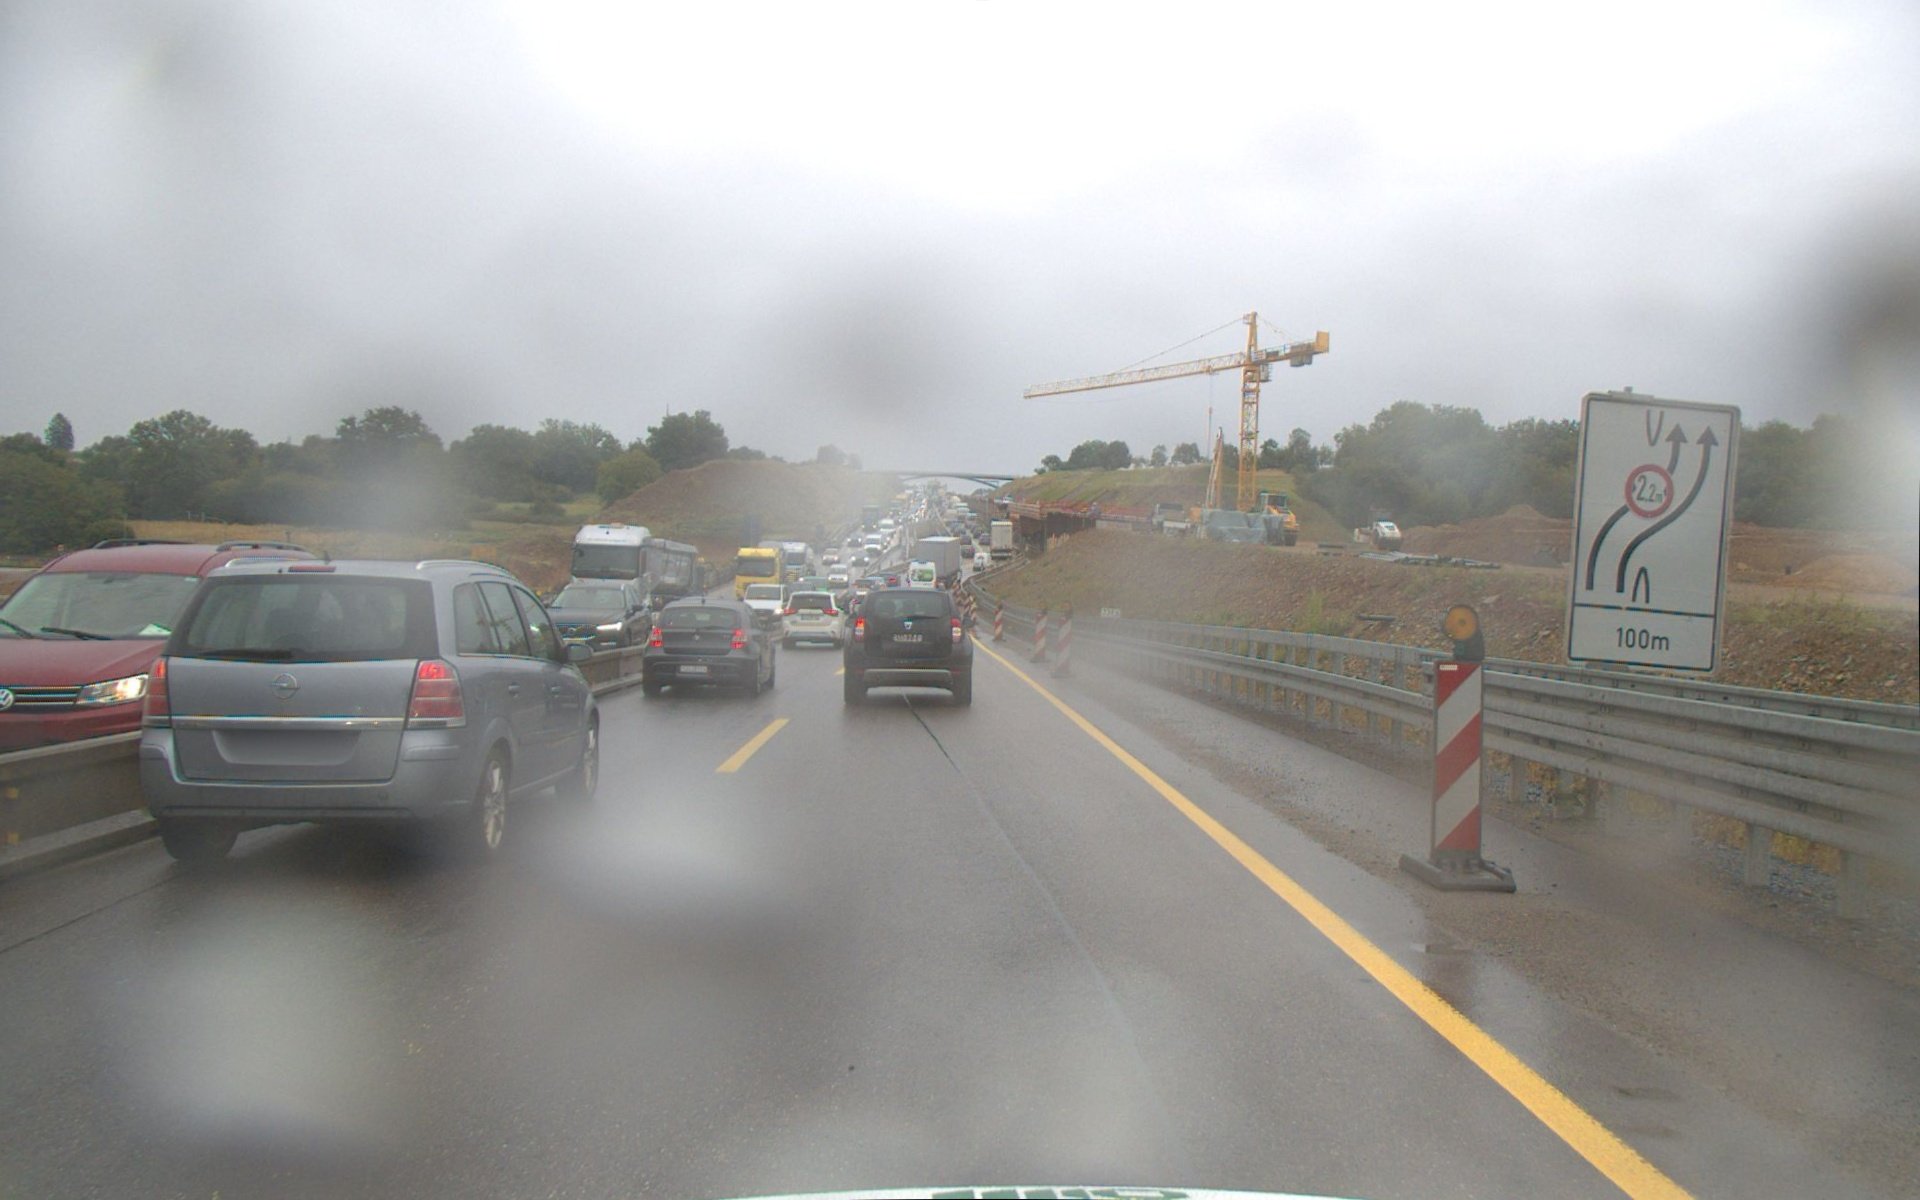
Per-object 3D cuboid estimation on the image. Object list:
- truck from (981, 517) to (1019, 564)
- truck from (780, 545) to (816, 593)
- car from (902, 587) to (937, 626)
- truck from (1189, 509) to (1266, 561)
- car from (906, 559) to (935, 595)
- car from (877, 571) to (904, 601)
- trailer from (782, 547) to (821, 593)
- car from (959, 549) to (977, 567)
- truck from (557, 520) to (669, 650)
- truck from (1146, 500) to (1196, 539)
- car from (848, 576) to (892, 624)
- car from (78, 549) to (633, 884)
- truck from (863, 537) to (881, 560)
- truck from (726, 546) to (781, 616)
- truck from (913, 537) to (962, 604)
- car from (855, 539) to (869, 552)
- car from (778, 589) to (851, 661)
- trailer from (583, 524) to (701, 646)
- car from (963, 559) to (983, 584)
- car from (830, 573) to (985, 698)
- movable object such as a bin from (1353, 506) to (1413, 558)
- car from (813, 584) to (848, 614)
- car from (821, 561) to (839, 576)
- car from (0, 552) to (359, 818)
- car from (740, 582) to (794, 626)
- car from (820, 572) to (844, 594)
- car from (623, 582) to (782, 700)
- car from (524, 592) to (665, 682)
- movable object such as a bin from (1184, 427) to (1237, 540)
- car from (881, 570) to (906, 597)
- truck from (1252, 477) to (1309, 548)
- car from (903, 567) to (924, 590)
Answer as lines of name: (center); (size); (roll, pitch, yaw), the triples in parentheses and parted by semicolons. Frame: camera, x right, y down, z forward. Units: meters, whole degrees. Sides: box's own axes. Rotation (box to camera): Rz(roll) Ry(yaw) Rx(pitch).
truck: (4.797, -7.135, 200.623); (3.727, 5.130, 12.916); (1, 0, -2)
truck: (-13.266, -2.504, 135.771); (2.568, 3.742, 6.592); (1, 0, -2)
car: (-2.322, 0.389, 96.688); (1.953, 2.200, 4.140); (1, 0, -1)
truck: (16.753, -4.039, 104.338); (3.326, 2.925, 8.959); (1, 0, 0)
car: (-2.816, -1.612, 118.984); (1.953, 2.527, 4.981); (1, 0, -1)
car: (-5.213, -1.049, 124.340); (1.953, 2.200, 4.139); (1, 0, -2)
trailer: (-13.502, -2.506, 141.498); (2.568, 3.742, 11.998); (1, 0, -2)
car: (0.922, -5.067, 198.784); (1.953, 2.048, 3.999); (0, 2, -2)
truck: (-11.120, -0.476, 53.383); (2.632, 3.995, 5.272); (0, 0, -2)
truck: (15.984, -6.075, 125.840); (2.592, 2.599, 6.981); (1, 0, -2)
car: (-4.338, 0.002, 79.127); (1.954, 2.200, 4.136); (1, 0, -5)
car: (-3.404, 0.573, 10.272); (1.953, 1.628, 4.140); (1, 0, -1)
truck: (-10.592, -6.160, 199.778); (2.037, 2.621, 5.959); (1, 0, -2)
truck: (-12.663, -1.156, 101.737); (2.694, 4.133, 6.146); (1, 0, -2)
truck: (-1.892, -2.491, 142.230); (3.036, 5.521, 9.449); (1, 0, 6)
car: (-13.065, -7.296, 221.229); (1.751, 1.565, 4.311); (1, 1, -2)
car: (-4.305, 0.708, 49.436); (1.953, 2.049, 3.892); (1, 0, -2)
trailer: (-11.294, -0.519, 59.641); (2.631, 4.033, 9.816); (0, 0, -2)
car: (1.368, -2.964, 174.908); (1.953, 2.527, 4.740); (1, 0, -1)
car: (-0.731, 0.462, 24.042); (2.039, 1.628, 4.140); (1, 0, -1)
movable object such as a bin: (31.487, -5.015, 123.342); (2.295, 3.662, 6.554); (1, 0, -5)
car: (-8.124, -0.083, 104.208); (1.953, 1.790, 4.686); (1, 0, -2)
car: (-14.150, -3.464, 180.359); (1.752, 1.573, 3.999); (1, 1, -2)
car: (-6.620, 0.526, 13.551); (1.809, 1.778, 4.842); (-1, 1, -3)
car: (-8.365, 0.179, 72.056); (1.837, 1.824, 5.357); (1, 0, -2)
car: (-10.768, -1.433, 139.594); (1.828, 1.831, 4.161); (1, 0, -2)
car: (-3.832, 0.565, 25.284); (1.954, 1.628, 4.138); (1, 0, -3)
car: (-7.278, 0.687, 33.405); (1.953, 1.684, 4.468); (0, 0, -2)
movable object such as a bin: (26.280, -12.014, 173.127); (4.618, 11.031, 10.312); (1, 0, 13)
car: (-5.427, -1.330, 135.172); (1.953, 2.200, 4.139); (1, 0, -1)
truck: (20.843, -5.670, 107.876); (2.325, 4.292, 5.977); (1, 0, -2)
car: (-4.470, -2.060, 160.078); (1.953, 2.200, 4.139); (1, 0, -1)
